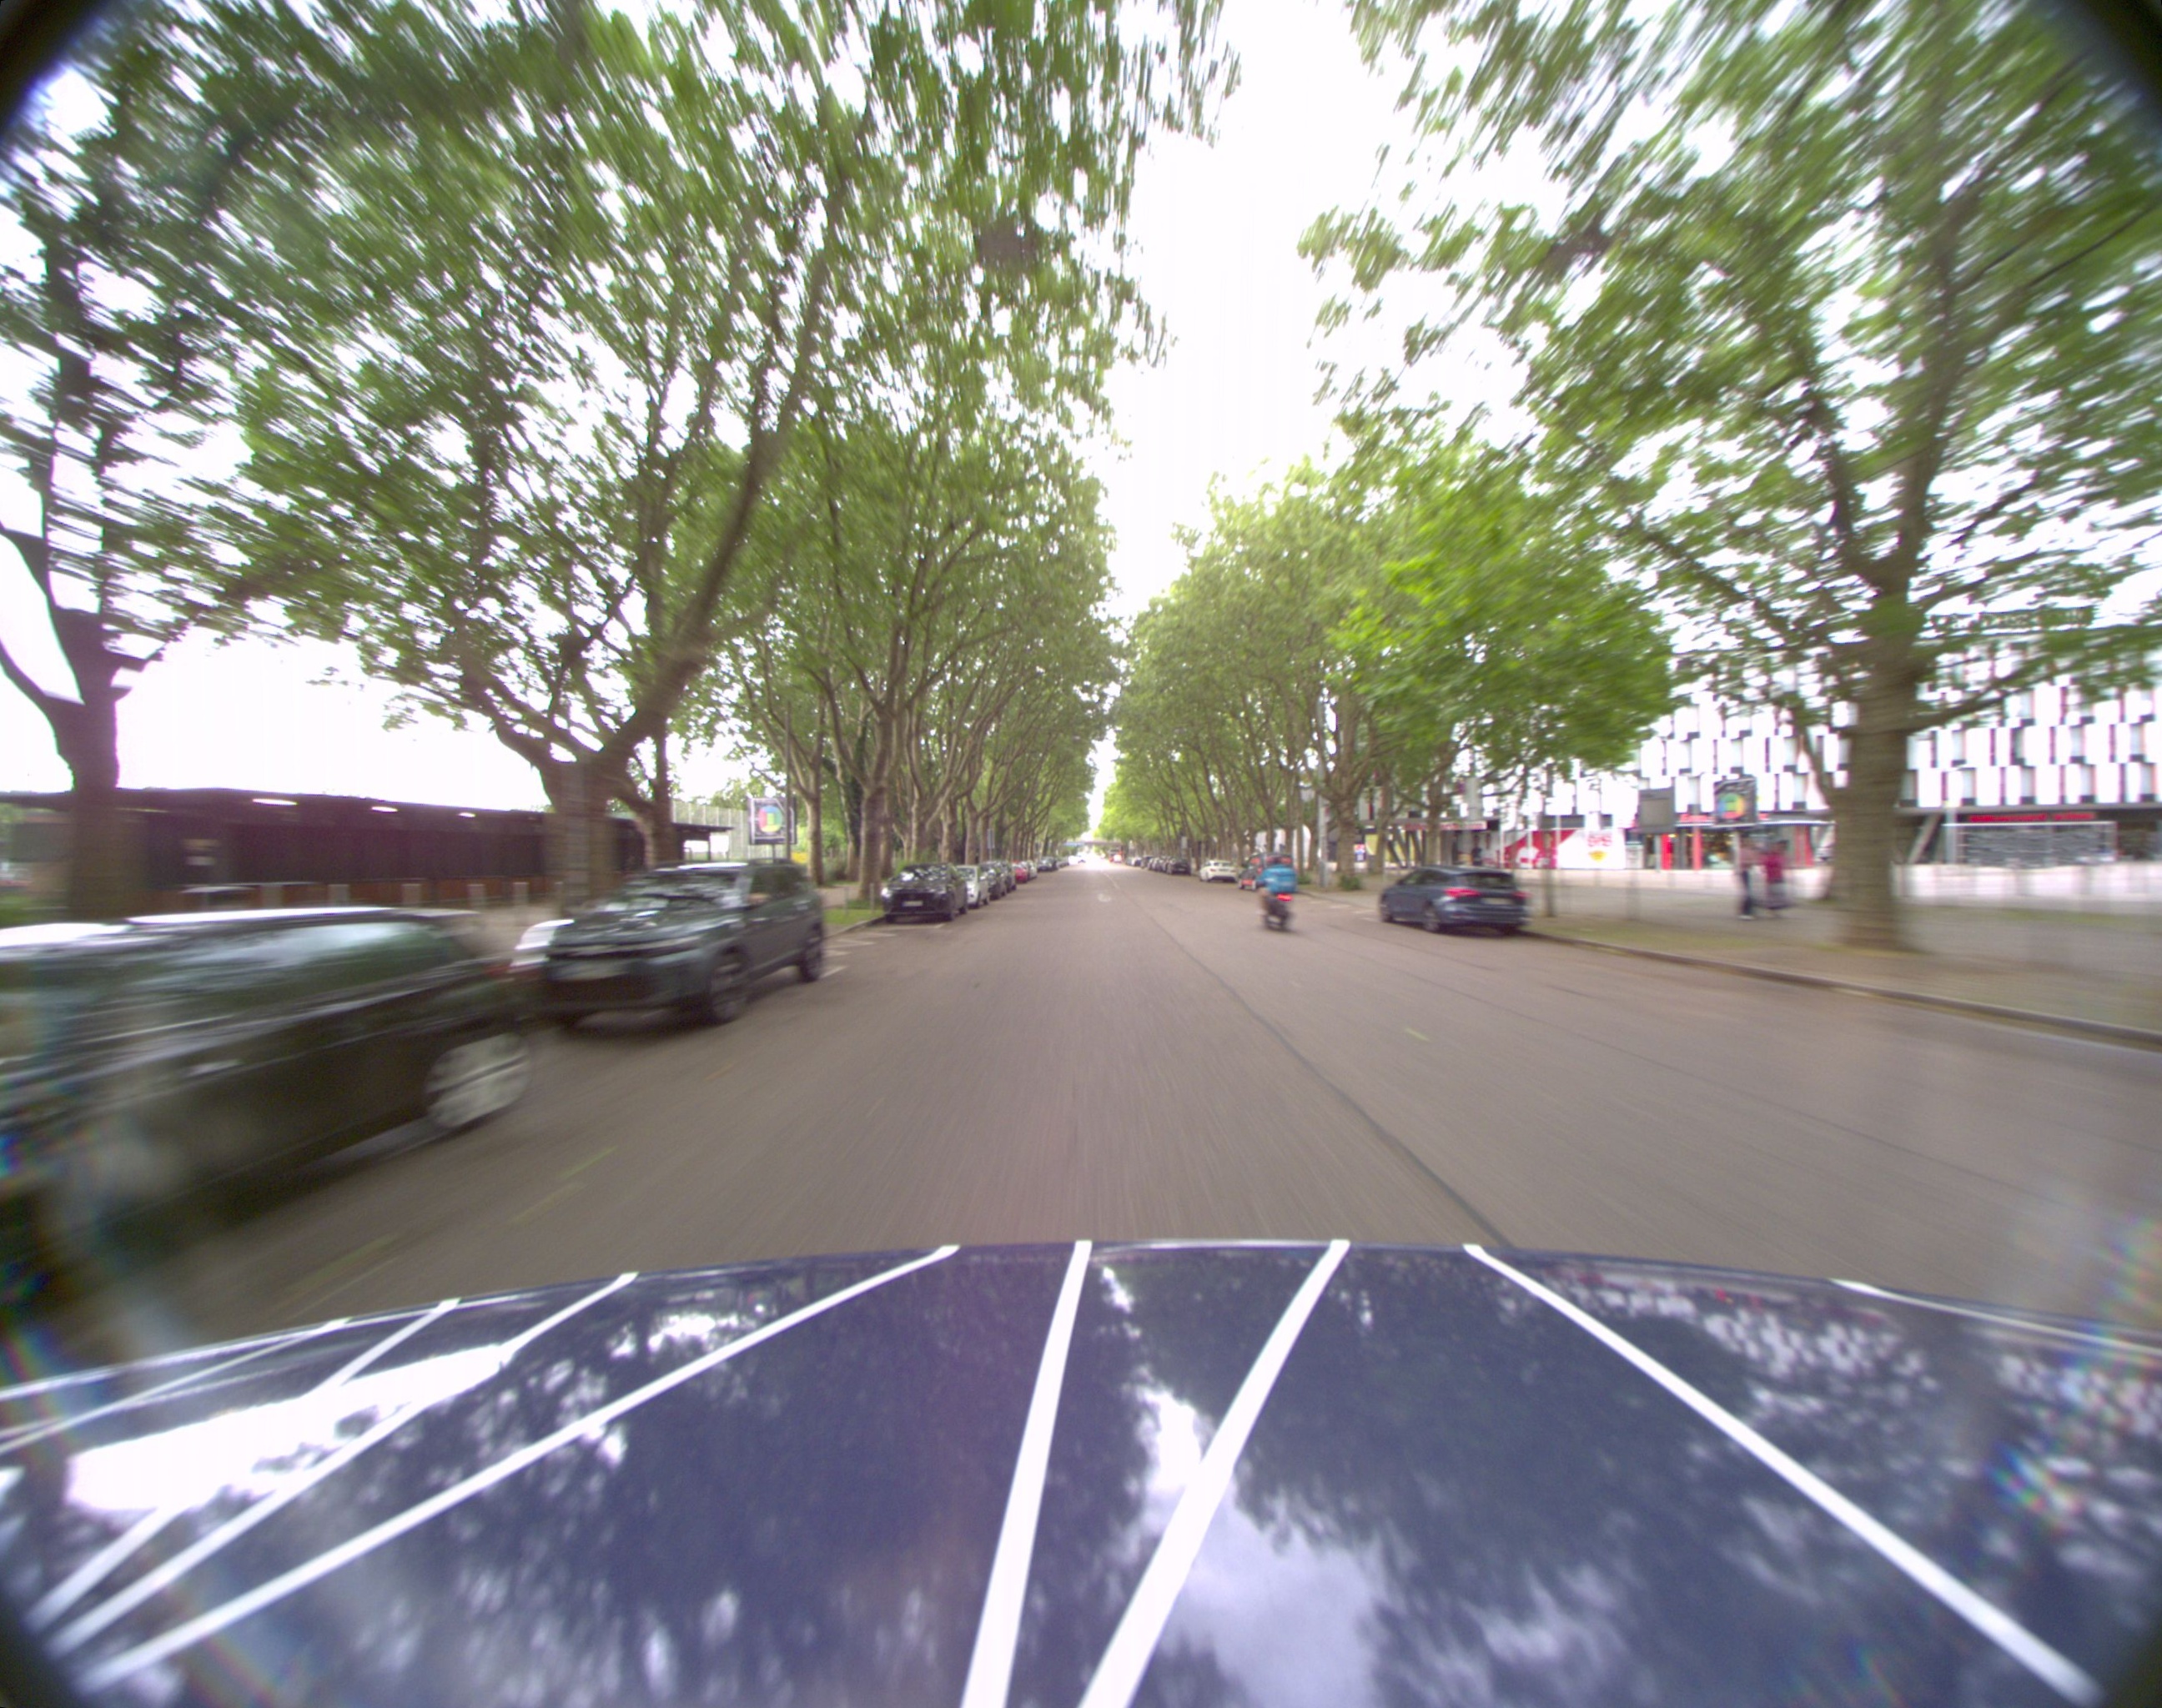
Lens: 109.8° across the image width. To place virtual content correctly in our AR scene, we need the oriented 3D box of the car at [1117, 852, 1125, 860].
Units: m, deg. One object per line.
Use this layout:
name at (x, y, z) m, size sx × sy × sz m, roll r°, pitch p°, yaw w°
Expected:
car at (10.502, 0.489, 199.874) m, size 2.064 × 1.950 × 5.466 m, roll 0°, pitch 0°, yaw 2°

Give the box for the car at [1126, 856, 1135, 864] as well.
car at (9.691, 1.188, 149.647) m, size 1.698 × 1.354 × 4.001 m, roll 4°, pitch 0°, yaw 3°

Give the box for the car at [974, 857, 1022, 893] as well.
car at (-4.047, 0.991, 37.730) m, size 1.760 × 1.610 × 4.439 m, roll -3°, pitch 0°, yaw 1°

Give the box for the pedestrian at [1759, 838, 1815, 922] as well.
pedestrian at (14.923, 0.536, 16.074) m, size 0.575 × 1.732 × 0.768 m, roll -1°, pitch 1°, yaw 15°

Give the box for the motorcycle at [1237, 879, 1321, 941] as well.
motorcycle at (4.182, 1.144, 16.370) m, size 0.875 × 1.073 × 3.052 m, roll -1°, pitch 0°, yaw -3°

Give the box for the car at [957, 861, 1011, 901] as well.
car at (-4.109, 1.102, 32.760) m, size 1.672 × 1.500 × 4.353 m, roll -3°, pitch 0°, yaw 1°

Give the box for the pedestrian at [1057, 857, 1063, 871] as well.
pedestrian at (-2.406, 1.184, 88.480) m, size 0.635 × 1.617 × 0.742 m, roll -1°, pitch 0°, yaw 0°

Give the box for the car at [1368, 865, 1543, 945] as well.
car at (8.227, 1.032, 17.221) m, size 1.729 × 1.477 × 4.574 m, roll -1°, pitch 0°, yaw 1°

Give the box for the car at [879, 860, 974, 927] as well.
car at (-4.350, 1.057, 22.103) m, size 1.782 × 1.663 × 4.637 m, roll -1°, pitch 0°, yaw 0°

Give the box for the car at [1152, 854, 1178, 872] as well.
car at (8.549, 0.932, 77.538) m, size 1.874 × 1.708 × 4.647 m, roll 2°, pitch 0°, yaw -3°

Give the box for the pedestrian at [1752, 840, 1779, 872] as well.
pedestrian at (36.249, 0.105, 40.267) m, size 0.726 × 1.681 × 0.808 m, roll -1°, pitch 1°, yaw 4°

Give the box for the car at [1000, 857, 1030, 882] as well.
car at (-4.309, 0.982, 50.094) m, size 1.721 × 1.430 × 4.627 m, roll -3°, pitch 0°, yaw -3°

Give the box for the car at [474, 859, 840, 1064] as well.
car at (-4.438, 0.957, 8.968) m, size 1.712 × 1.688 × 4.630 m, roll -3°, pitch 0°, yaw -1°

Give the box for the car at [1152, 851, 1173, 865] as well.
car at (8.915, 0.466, 83.508) m, size 1.838 × 1.447 × 4.230 m, roll 2°, pitch 0°, yaw 1°

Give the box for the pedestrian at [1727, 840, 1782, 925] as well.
pedestrian at (14.322, 0.592, 16.175) m, size 0.577 × 1.759 × 0.768 m, roll -1°, pitch 1°, yaw 15°

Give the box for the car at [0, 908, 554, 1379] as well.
car at (-4.583, 1.112, 3.221) m, size 1.712 × 1.407 × 4.360 m, roll -2°, pitch 0°, yaw -2°

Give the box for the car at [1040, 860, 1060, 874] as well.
car at (-3.587, 1.496, 87.871) m, size 1.998 × 1.469 × 4.371 m, roll -2°, pitch 0°, yaw 0°

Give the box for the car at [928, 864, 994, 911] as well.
car at (-4.225, 1.143, 27.265) m, size 1.620 × 1.433 × 3.710 m, roll -3°, pitch 0°, yaw 2°

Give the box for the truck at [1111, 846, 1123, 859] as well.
truck at (10.388, -0.476, 219.182) m, size 2.917 × 3.846 × 9.466 m, roll 1°, pitch 1°, yaw 1°

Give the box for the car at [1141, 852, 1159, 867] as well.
car at (9.254, 0.719, 102.225) m, size 1.900 × 1.785 × 4.612 m, roll 2°, pitch 0°, yaw 0°

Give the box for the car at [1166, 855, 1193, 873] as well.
car at (8.608, 0.857, 66.720) m, size 1.838 × 1.486 × 4.442 m, roll 2°, pitch 0°, yaw 1°

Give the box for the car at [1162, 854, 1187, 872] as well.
car at (8.868, 0.855, 72.407) m, size 1.942 × 1.633 × 4.928 m, roll 2°, pitch 0°, yaw 2°

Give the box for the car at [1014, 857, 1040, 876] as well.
car at (-4.271, 0.967, 60.280) m, size 1.739 × 1.430 × 4.123 m, roll -1°, pitch 0°, yaw 0°

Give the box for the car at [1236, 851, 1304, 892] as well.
car at (8.639, 0.749, 35.106) m, size 1.954 × 1.740 × 4.638 m, roll 1°, pitch 0°, yaw 0°

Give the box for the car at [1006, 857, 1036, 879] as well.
car at (-4.332, 0.998, 55.389) m, size 1.734 × 1.461 × 4.080 m, roll -3°, pitch 0°, yaw 2°

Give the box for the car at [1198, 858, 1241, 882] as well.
car at (8.863, 1.009, 48.968) m, size 1.909 × 1.394 × 4.751 m, roll 2°, pitch 0°, yaw 1°

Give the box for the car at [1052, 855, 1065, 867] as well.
car at (-3.447, 1.068, 115.579) m, size 1.834 × 1.593 × 4.467 m, roll -3°, pitch 0°, yaw 0°

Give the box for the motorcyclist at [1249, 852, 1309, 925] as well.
motorcyclist at (4.183, 0.711, 16.156) m, size 0.872 × 1.471 × 1.265 m, roll -1°, pitch 0°, yaw -3°

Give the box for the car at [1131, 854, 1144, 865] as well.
car at (8.738, 0.800, 117.231) m, size 1.822 × 1.584 × 4.345 m, roll 2°, pitch 0°, yaw 3°
